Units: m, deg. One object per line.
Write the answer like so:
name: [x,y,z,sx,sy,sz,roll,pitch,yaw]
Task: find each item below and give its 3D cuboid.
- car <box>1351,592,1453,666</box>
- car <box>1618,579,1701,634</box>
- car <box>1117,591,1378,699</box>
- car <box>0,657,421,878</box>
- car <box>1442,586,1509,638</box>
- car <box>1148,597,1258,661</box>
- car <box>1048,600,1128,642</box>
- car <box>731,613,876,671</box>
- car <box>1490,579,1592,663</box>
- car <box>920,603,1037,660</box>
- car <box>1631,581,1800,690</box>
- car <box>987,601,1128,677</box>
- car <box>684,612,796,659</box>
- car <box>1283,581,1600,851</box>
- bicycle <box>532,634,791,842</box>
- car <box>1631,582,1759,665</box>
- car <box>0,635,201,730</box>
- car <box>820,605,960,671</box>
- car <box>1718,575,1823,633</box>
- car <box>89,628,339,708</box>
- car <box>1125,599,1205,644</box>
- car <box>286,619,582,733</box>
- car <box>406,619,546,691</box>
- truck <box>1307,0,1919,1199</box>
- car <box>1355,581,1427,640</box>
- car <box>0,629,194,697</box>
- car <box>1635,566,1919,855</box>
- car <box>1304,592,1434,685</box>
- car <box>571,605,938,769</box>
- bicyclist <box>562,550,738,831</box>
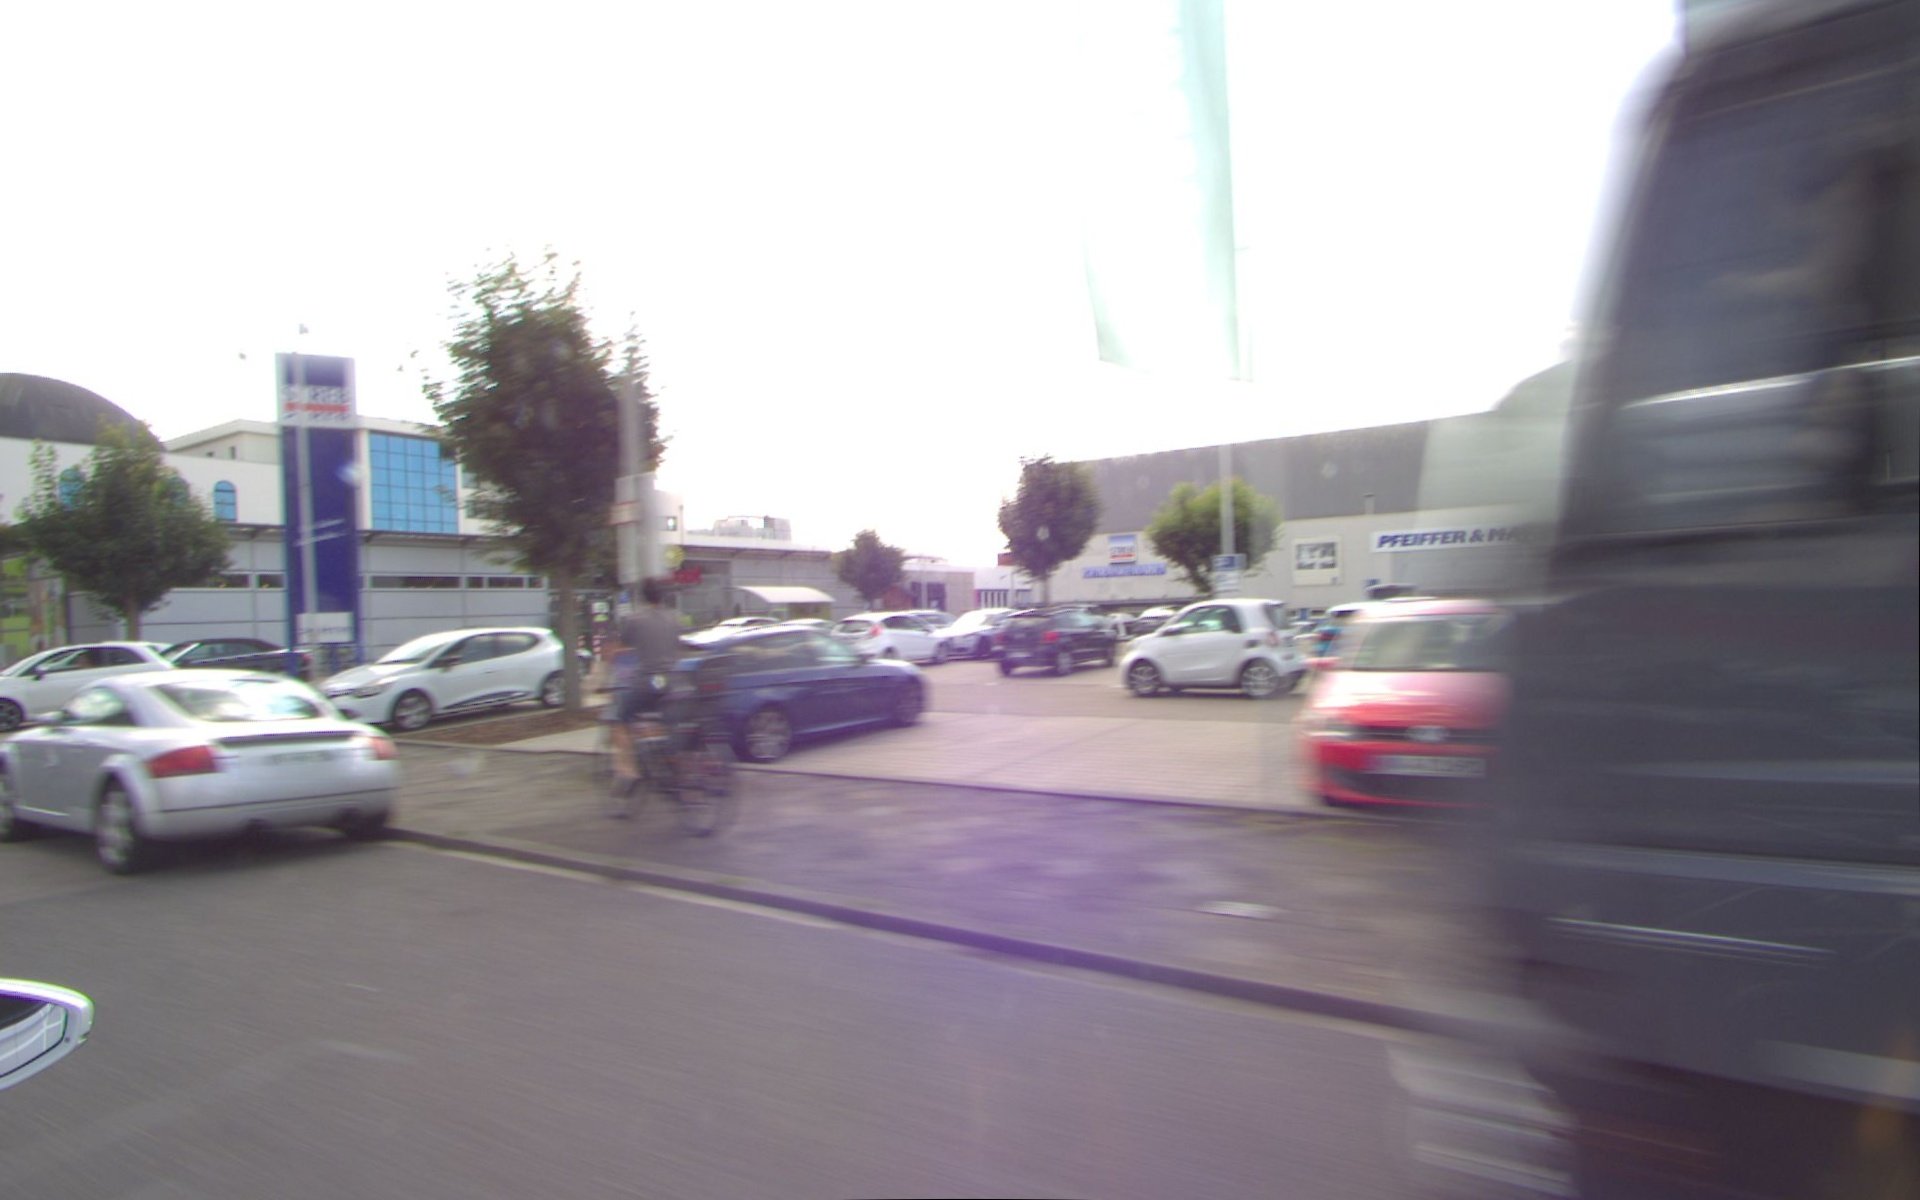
car: [10.317,0.630,23.246,1.699,1.503,4.012,-2,0,30]
car: [21.020,0.169,30.232,1.699,1.503,4.023,-2,0,30]
car: [4.581,0.699,16.037,3.699,1.539,1.716,-2,-1,31]
car: [-6.214,1.142,8.015,3.929,1.357,1.659,-2,-3,33]
car: [16.764,0.355,32.466,1.699,1.503,3.915,-2,0,30]
car: [6.488,0.722,26.432,1.699,1.503,4.002,-2,0,30]
car: [5.271,0.832,40.786,1.699,1.503,4.177,-2,0,30]
car: [-4.245,1.123,27.747,1.768,1.356,4.096,-2,0,30]
car: [12.478,0.397,21.531,1.715,1.599,4.050,-2,1,30]
car: [0.640,0.923,30.272,1.699,1.503,4.110,-2,0,30]
car: [12.016,0.494,16.168,1.699,1.503,3.928,-2,0,30]
car: [2.346,0.843,23.204,1.699,1.503,3.987,-2,0,30]
car: [-7.975,1.254,36.615,1.699,1.503,4.041,-2,0,30]
car: [3.789,0.660,7.859,1.722,1.543,3.879,-2,0,28]
bicycle: [-2.251,0.962,7.480,1.858,1.313,0.789,-2,3,35]
car: [15.002,0.425,20.635,1.699,1.503,3.928,-2,0,30]
car: [-16.811,1.522,18.912,1.667,1.489,3.586,-2,1,37]
car: [-1.770,0.963,26.622,1.699,1.503,4.051,-2,0,30]
car: [22.946,0.074,28.478,1.699,1.503,4.015,-2,0,30]
car: [-16.849,1.475,22.836,1.780,1.449,4.172,-2,1,30]
car: [7.791,0.796,37.763,1.730,1.503,4.042,-2,0,30]
car: [-8.474,1.151,16.488,1.770,1.430,3.944,-2,1,30]
car: [-11.747,1.261,24.615,1.654,1.430,4.385,-2,1,-6]
truck: [4.692,-0.696,0.469,8.165,4.167,2.773,-2,-3,34]
car: [14.487,0.319,33.525,1.699,1.824,4.057,-2,1,30]
car: [-23.580,1.647,27.070,1.961,1.483,4.095,-2,1,30]
car: [6.251,0.563,7.291,1.722,1.563,4.281,-2,0,28]
car: [7.811,0.656,18.927,1.715,1.503,3.974,-2,0,30]
car: [-2.190,0.873,11.906,1.820,1.463,4.299,-2,0,31]
bicyclist: [-2.306,0.629,7.490,0.818,1.937,0.791,-2,3,35]
